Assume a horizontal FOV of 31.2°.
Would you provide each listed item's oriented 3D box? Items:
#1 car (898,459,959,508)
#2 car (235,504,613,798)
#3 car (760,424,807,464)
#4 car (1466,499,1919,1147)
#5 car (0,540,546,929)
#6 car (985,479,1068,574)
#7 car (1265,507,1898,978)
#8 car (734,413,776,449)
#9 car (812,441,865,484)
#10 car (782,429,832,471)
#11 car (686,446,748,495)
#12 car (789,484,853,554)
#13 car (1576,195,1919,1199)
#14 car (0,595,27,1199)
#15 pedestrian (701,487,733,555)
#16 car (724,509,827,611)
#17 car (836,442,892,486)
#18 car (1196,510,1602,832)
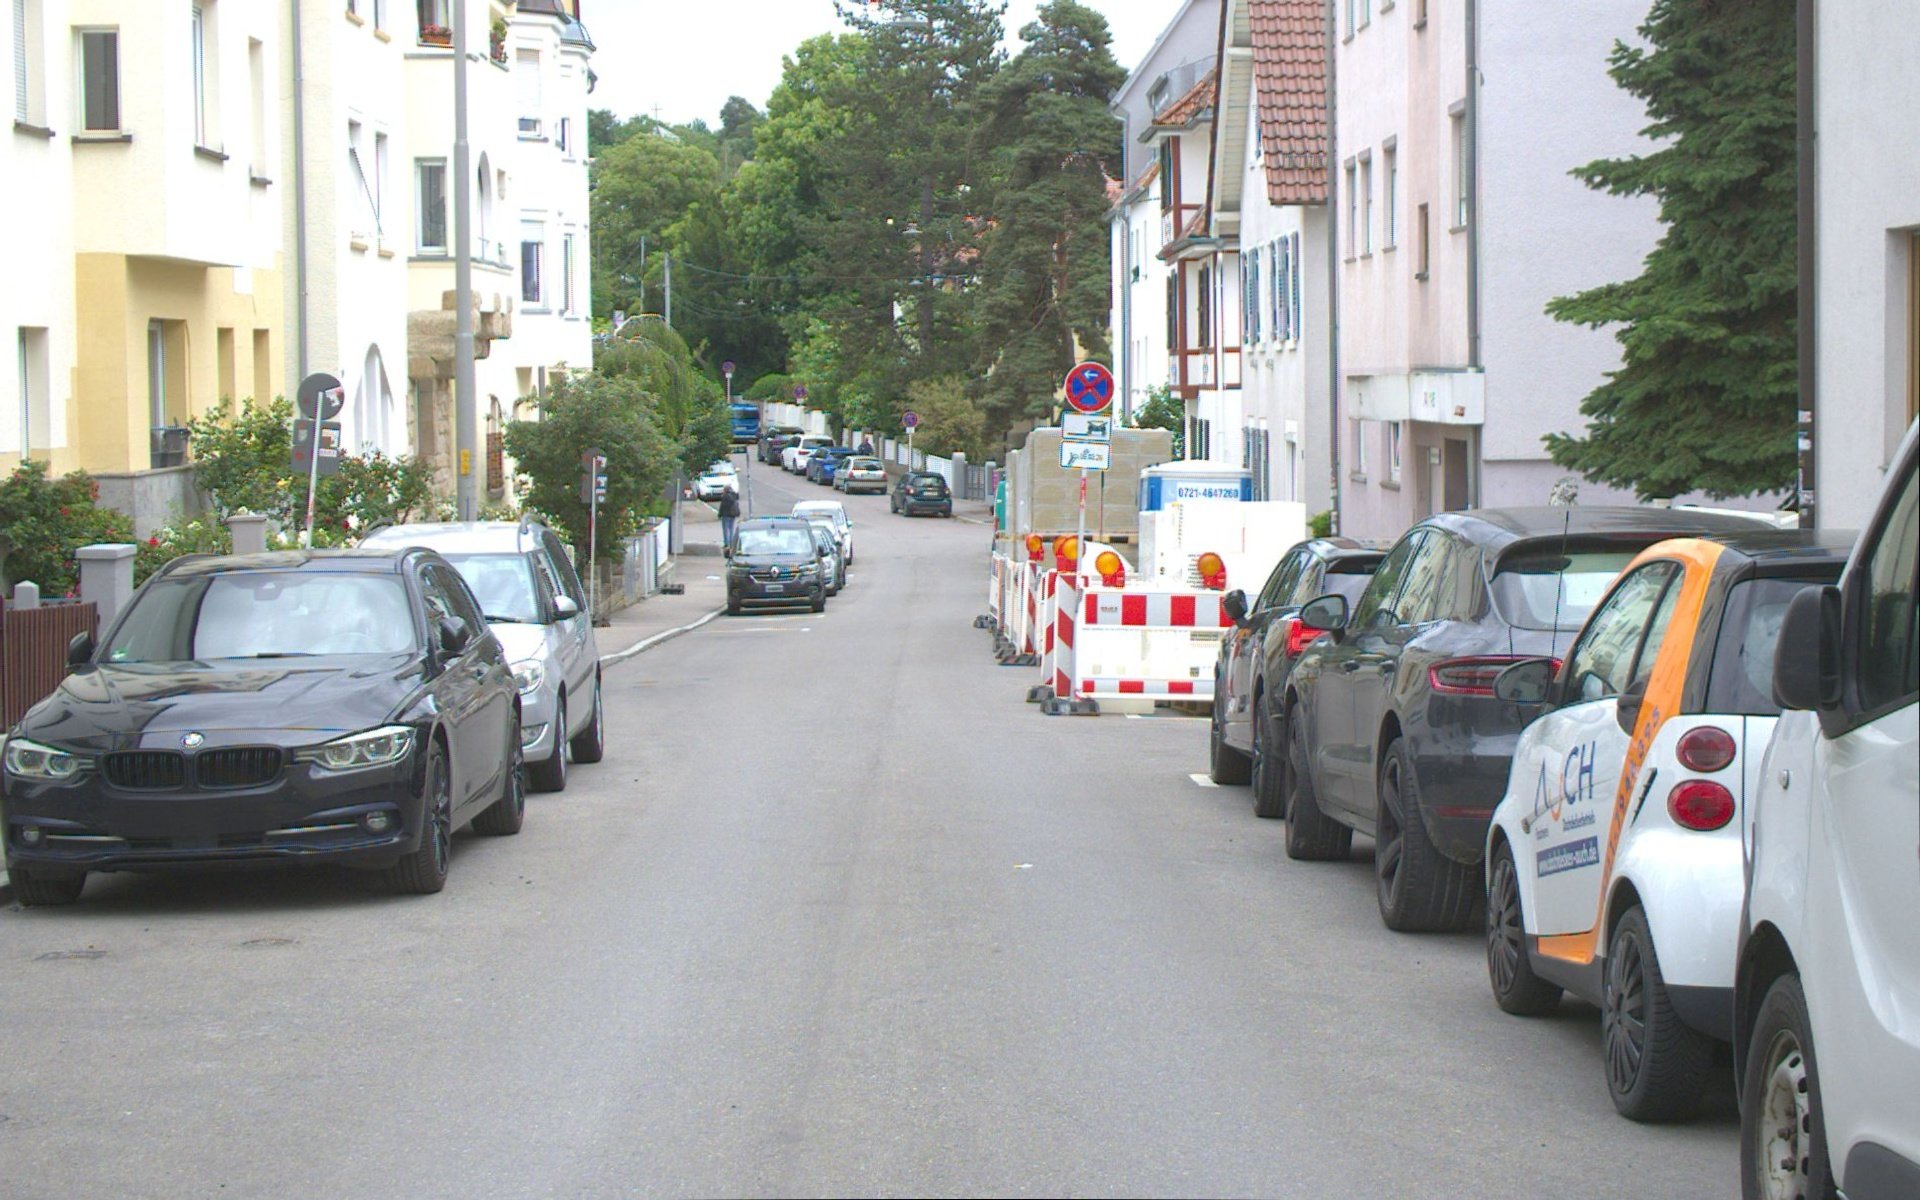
[{"bbox_3d":[-1.113,-4.088,120.440,1.634,1.478,3.532,0,5,-8],"label":"car"},{"bbox_3d":[-3.225,0.257,21.465,1.845,1.625,4.287,-1,1,-3],"label":"car"},{"bbox_3d":[-7.652,-6.753,148.684,1.634,1.532,3.532,0,5,-10],"label":"car"},{"bbox_3d":[2.429,0.522,9.952,1.487,1.591,2.791,1,2,0],"label":"car"},{"bbox_3d":[-3.074,0.486,15.612,1.845,1.452,4.505,-2,1,0],"label":"car"},{"bbox_3d":[1.729,-1.951,90.404,1.980,2.354,4.278,-1,3,-2],"label":"car"},{"bbox_3d":[2.374,0.440,14.283,1.713,1.591,4.499,1,2,-1],"label":"car"},{"bbox_3d":[-9.755,-8.047,163.365,1.634,1.532,3.532,0,5,-10],"label":"car"},{"bbox_3d":[-4.843,-5.490,136.988,1.634,1.478,3.532,0,5,-10],"label":"car"},{"bbox_3d":[-6.362,-6.249,142.867,1.634,1.532,3.532,0,5,-10],"label":"car"},{"bbox_3d":[-9.199,-4.902,129.701,1.672,1.651,3.865,-3,5,-13],"label":"car"},{"bbox_3d":[-3.782,-2.230,93.970,1.672,1.651,3.864,-2,5,-1],"label":"car"},{"bbox_3d":[2.460,0.394,5.192,1.905,2.023,5.734,1,2,-1],"label":"car"},{"bbox_3d":[-2.960,0.757,5.021,1.845,1.408,5.062,-1,1,-1],"label":"car"},{"bbox_3d":[-6.903,-2.253,97.772,0.791,1.926,0.919,1,2,2],"label":"pedestrian"},{"bbox_3d":[-3.512,-0.799,65.149,1.844,1.809,4.545,-2,2,-3],"label":"car"},{"bbox_3d":[-3.713,-5.229,132.262,1.634,1.478,3.532,0,5,-10],"label":"car"},{"bbox_3d":[2.344,0.304,19.314,1.715,1.560,4.073,1,2,0],"label":"car"}]
